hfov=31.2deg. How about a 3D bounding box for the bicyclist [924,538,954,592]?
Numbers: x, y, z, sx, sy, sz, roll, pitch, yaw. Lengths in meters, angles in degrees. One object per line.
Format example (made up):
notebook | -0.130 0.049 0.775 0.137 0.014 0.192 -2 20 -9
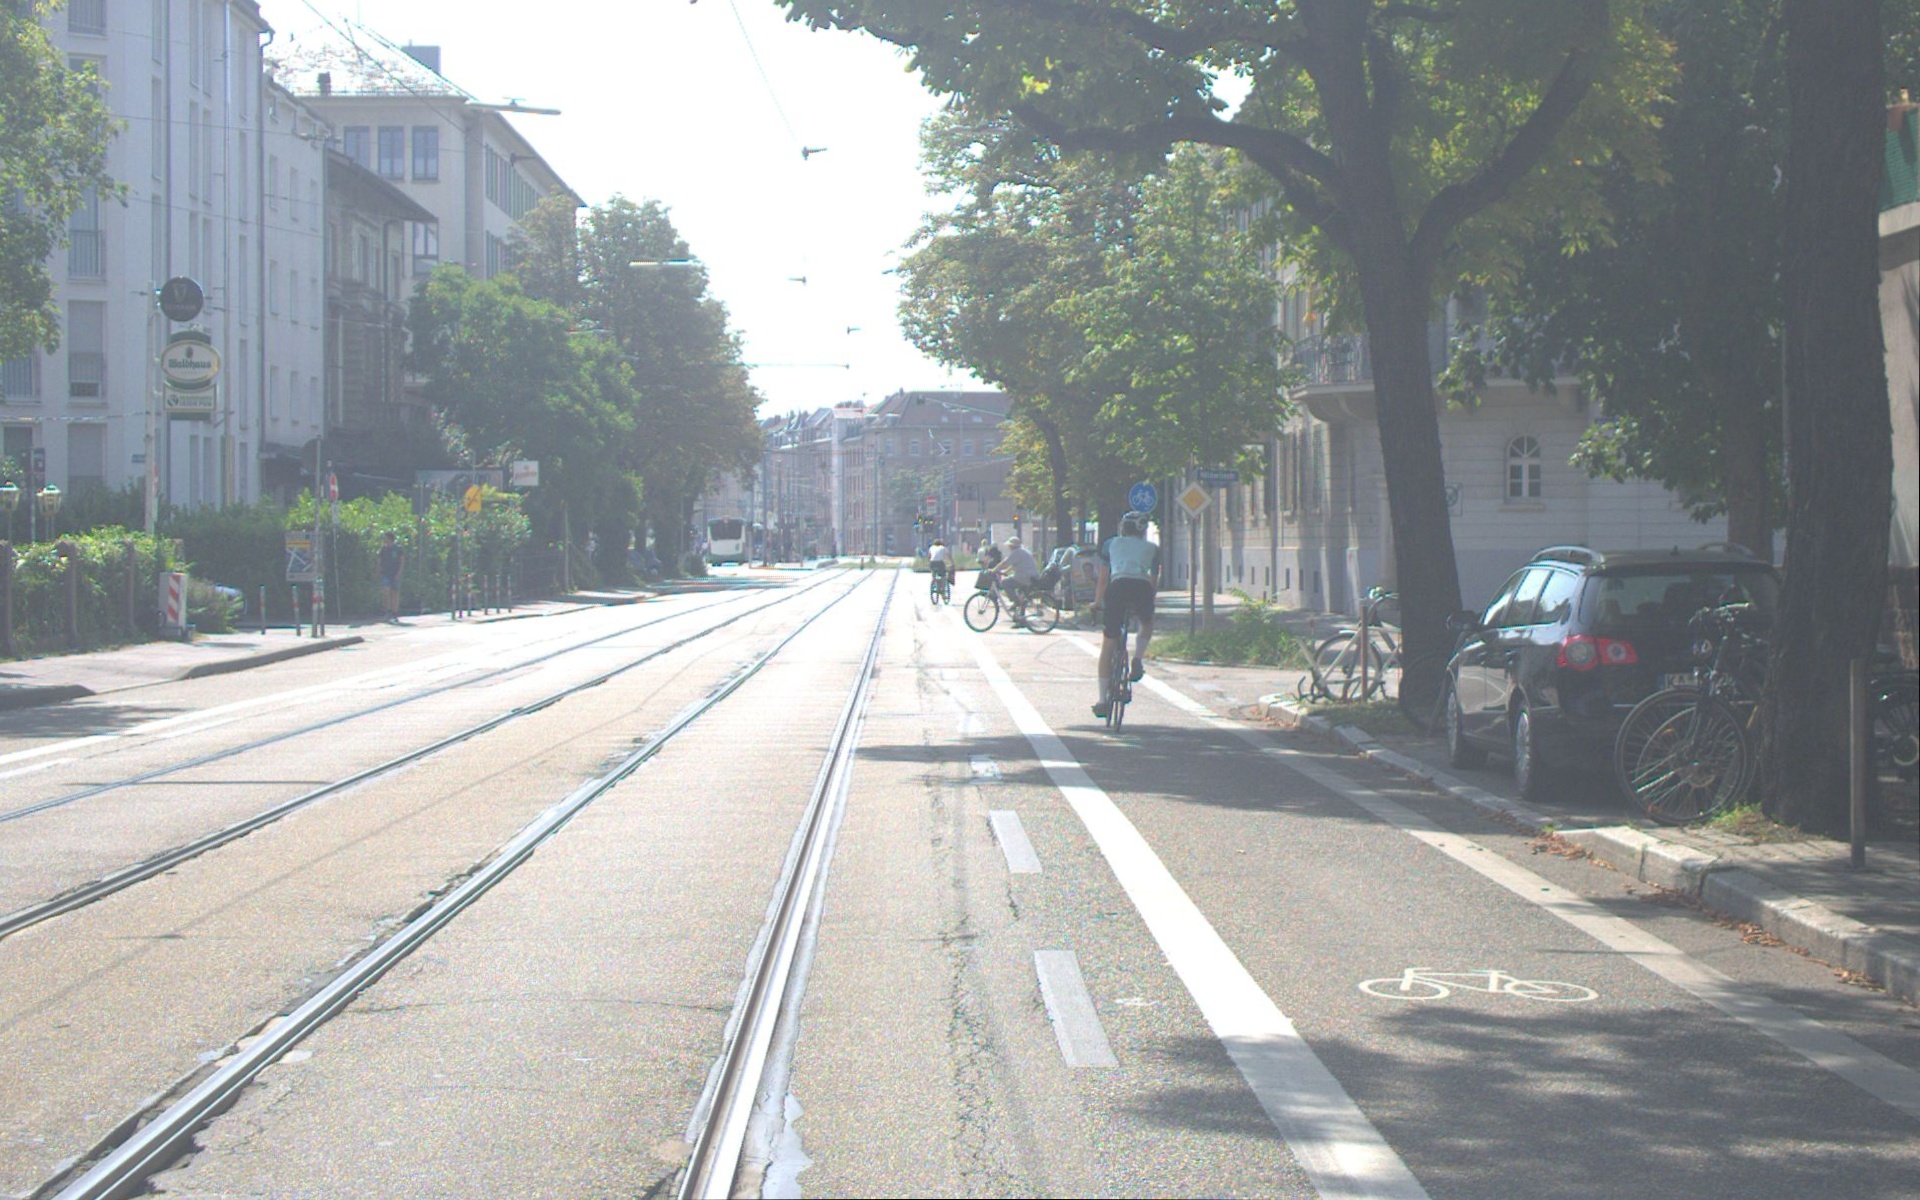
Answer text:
bicyclist | -0.544 -0.891 88.706 0.758 1.387 0.779 0 0 1

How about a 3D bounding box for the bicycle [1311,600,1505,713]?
bicycle | 4.114 0.516 31.623 1.713 1.028 0.566 0 0 0

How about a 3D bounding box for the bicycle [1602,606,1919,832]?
bicycle | 4.049 0.586 17.219 1.606 1.100 0.398 0 1 6

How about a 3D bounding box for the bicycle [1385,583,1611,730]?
bicycle | 4.173 0.433 26.723 1.723 1.133 0.377 0 0 6

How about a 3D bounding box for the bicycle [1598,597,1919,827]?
bicycle | 4.159 0.564 17.605 1.723 1.145 0.377 0 1 6

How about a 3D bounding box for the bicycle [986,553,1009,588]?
bicycle | 1.019 -0.796 93.659 0.588 0.936 2.172 0 0 1

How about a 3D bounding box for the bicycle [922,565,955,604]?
bicycle | -0.548 -0.408 88.760 0.758 0.987 2.298 0 0 1

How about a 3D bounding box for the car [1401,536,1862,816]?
car | 4.082 0.393 21.709 1.840 1.527 4.780 -1 1 -1

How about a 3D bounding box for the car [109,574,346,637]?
car | -14.752 0.111 69.247 4.234 1.180 1.998 -1 0 19

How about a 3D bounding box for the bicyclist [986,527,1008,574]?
bicyclist | 1.014 -1.335 93.593 0.579 1.274 0.471 0 0 2

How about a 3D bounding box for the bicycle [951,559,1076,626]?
bicycle | 0.938 -0.144 60.394 2.037 1.147 0.784 1 1 23

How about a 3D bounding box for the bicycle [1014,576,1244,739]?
bicycle | 1.446 0.444 28.687 1.149 1.265 2.709 0 1 21

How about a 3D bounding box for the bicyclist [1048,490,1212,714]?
bicyclist | 1.426 0.012 28.653 1.126 1.830 0.955 0 0 21

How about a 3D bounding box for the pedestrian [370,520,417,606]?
pedestrian | -11.658 -0.752 70.782 0.779 1.750 1.040 -1 0 0

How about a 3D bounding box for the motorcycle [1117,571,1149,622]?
motorcycle | 3.691 -0.078 73.545 0.549 1.064 2.330 0 0 -1

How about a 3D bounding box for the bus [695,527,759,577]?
bus | -16.146 -3.310 239.212 3.735 3.352 15.120 0 0 -1

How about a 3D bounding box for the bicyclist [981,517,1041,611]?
bicyclist | 0.894 -0.634 60.409 0.824 1.637 0.784 0 1 23
